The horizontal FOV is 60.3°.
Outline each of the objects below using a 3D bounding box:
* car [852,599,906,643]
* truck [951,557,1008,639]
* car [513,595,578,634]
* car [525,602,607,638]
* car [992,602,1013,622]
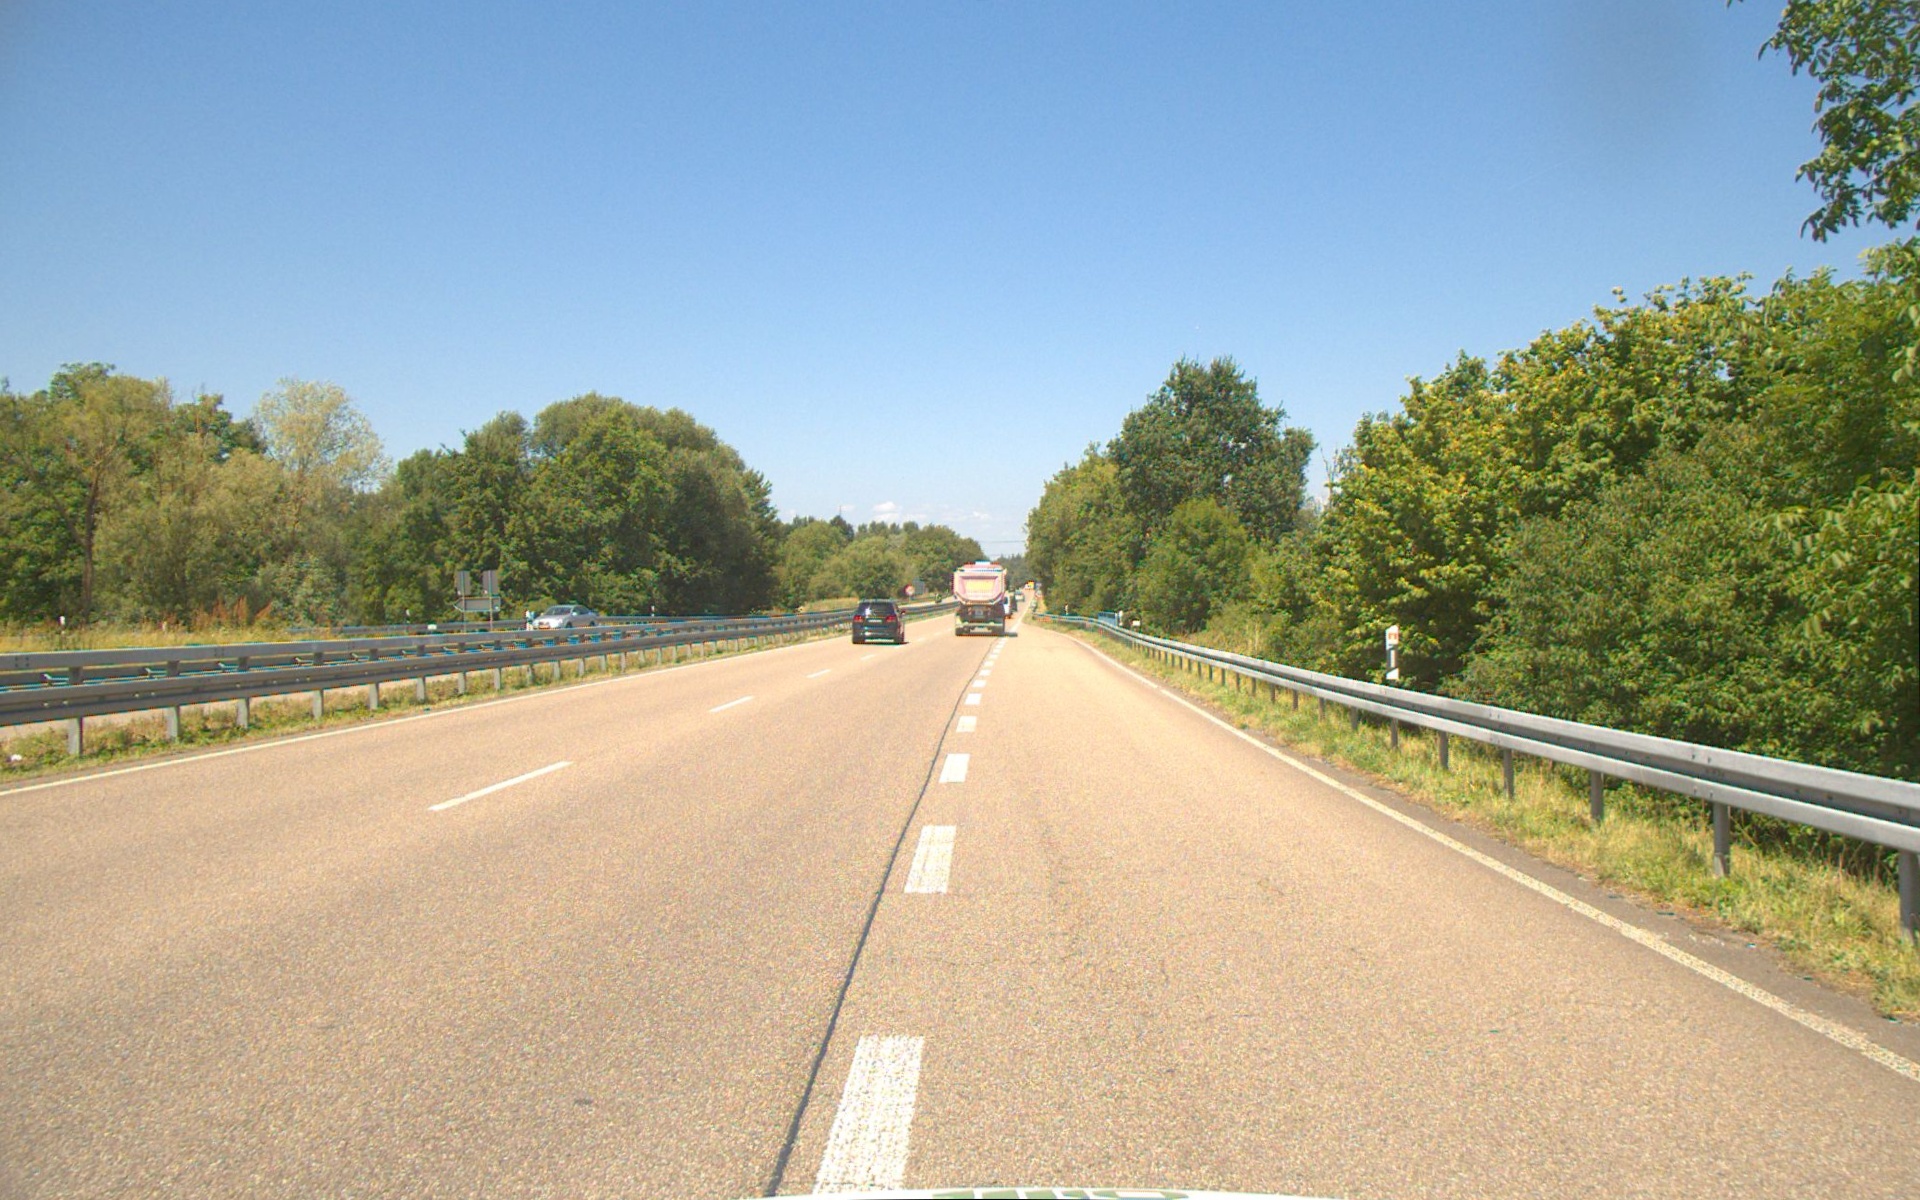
[{"bbox_3d":[-3.210,0.835,65.975,1.819,1.700,4.001,0,-1,2],"label":"car"},{"bbox_3d":[1.141,-0.171,86.605,2.664,3.998,12.374,0,1,2],"label":"truck"},{"bbox_3d":[-17.087,0.620,68.323,1.880,1.515,3.997,1,-1,-4],"label":"car"},{"bbox_3d":[-18.937,0.951,79.672,1.687,1.673,4.946,1,0,15],"label":"car"},{"bbox_3d":[3.728,1.052,144.902,1.819,1.700,4.001,0,-1,2],"label":"car"}]
